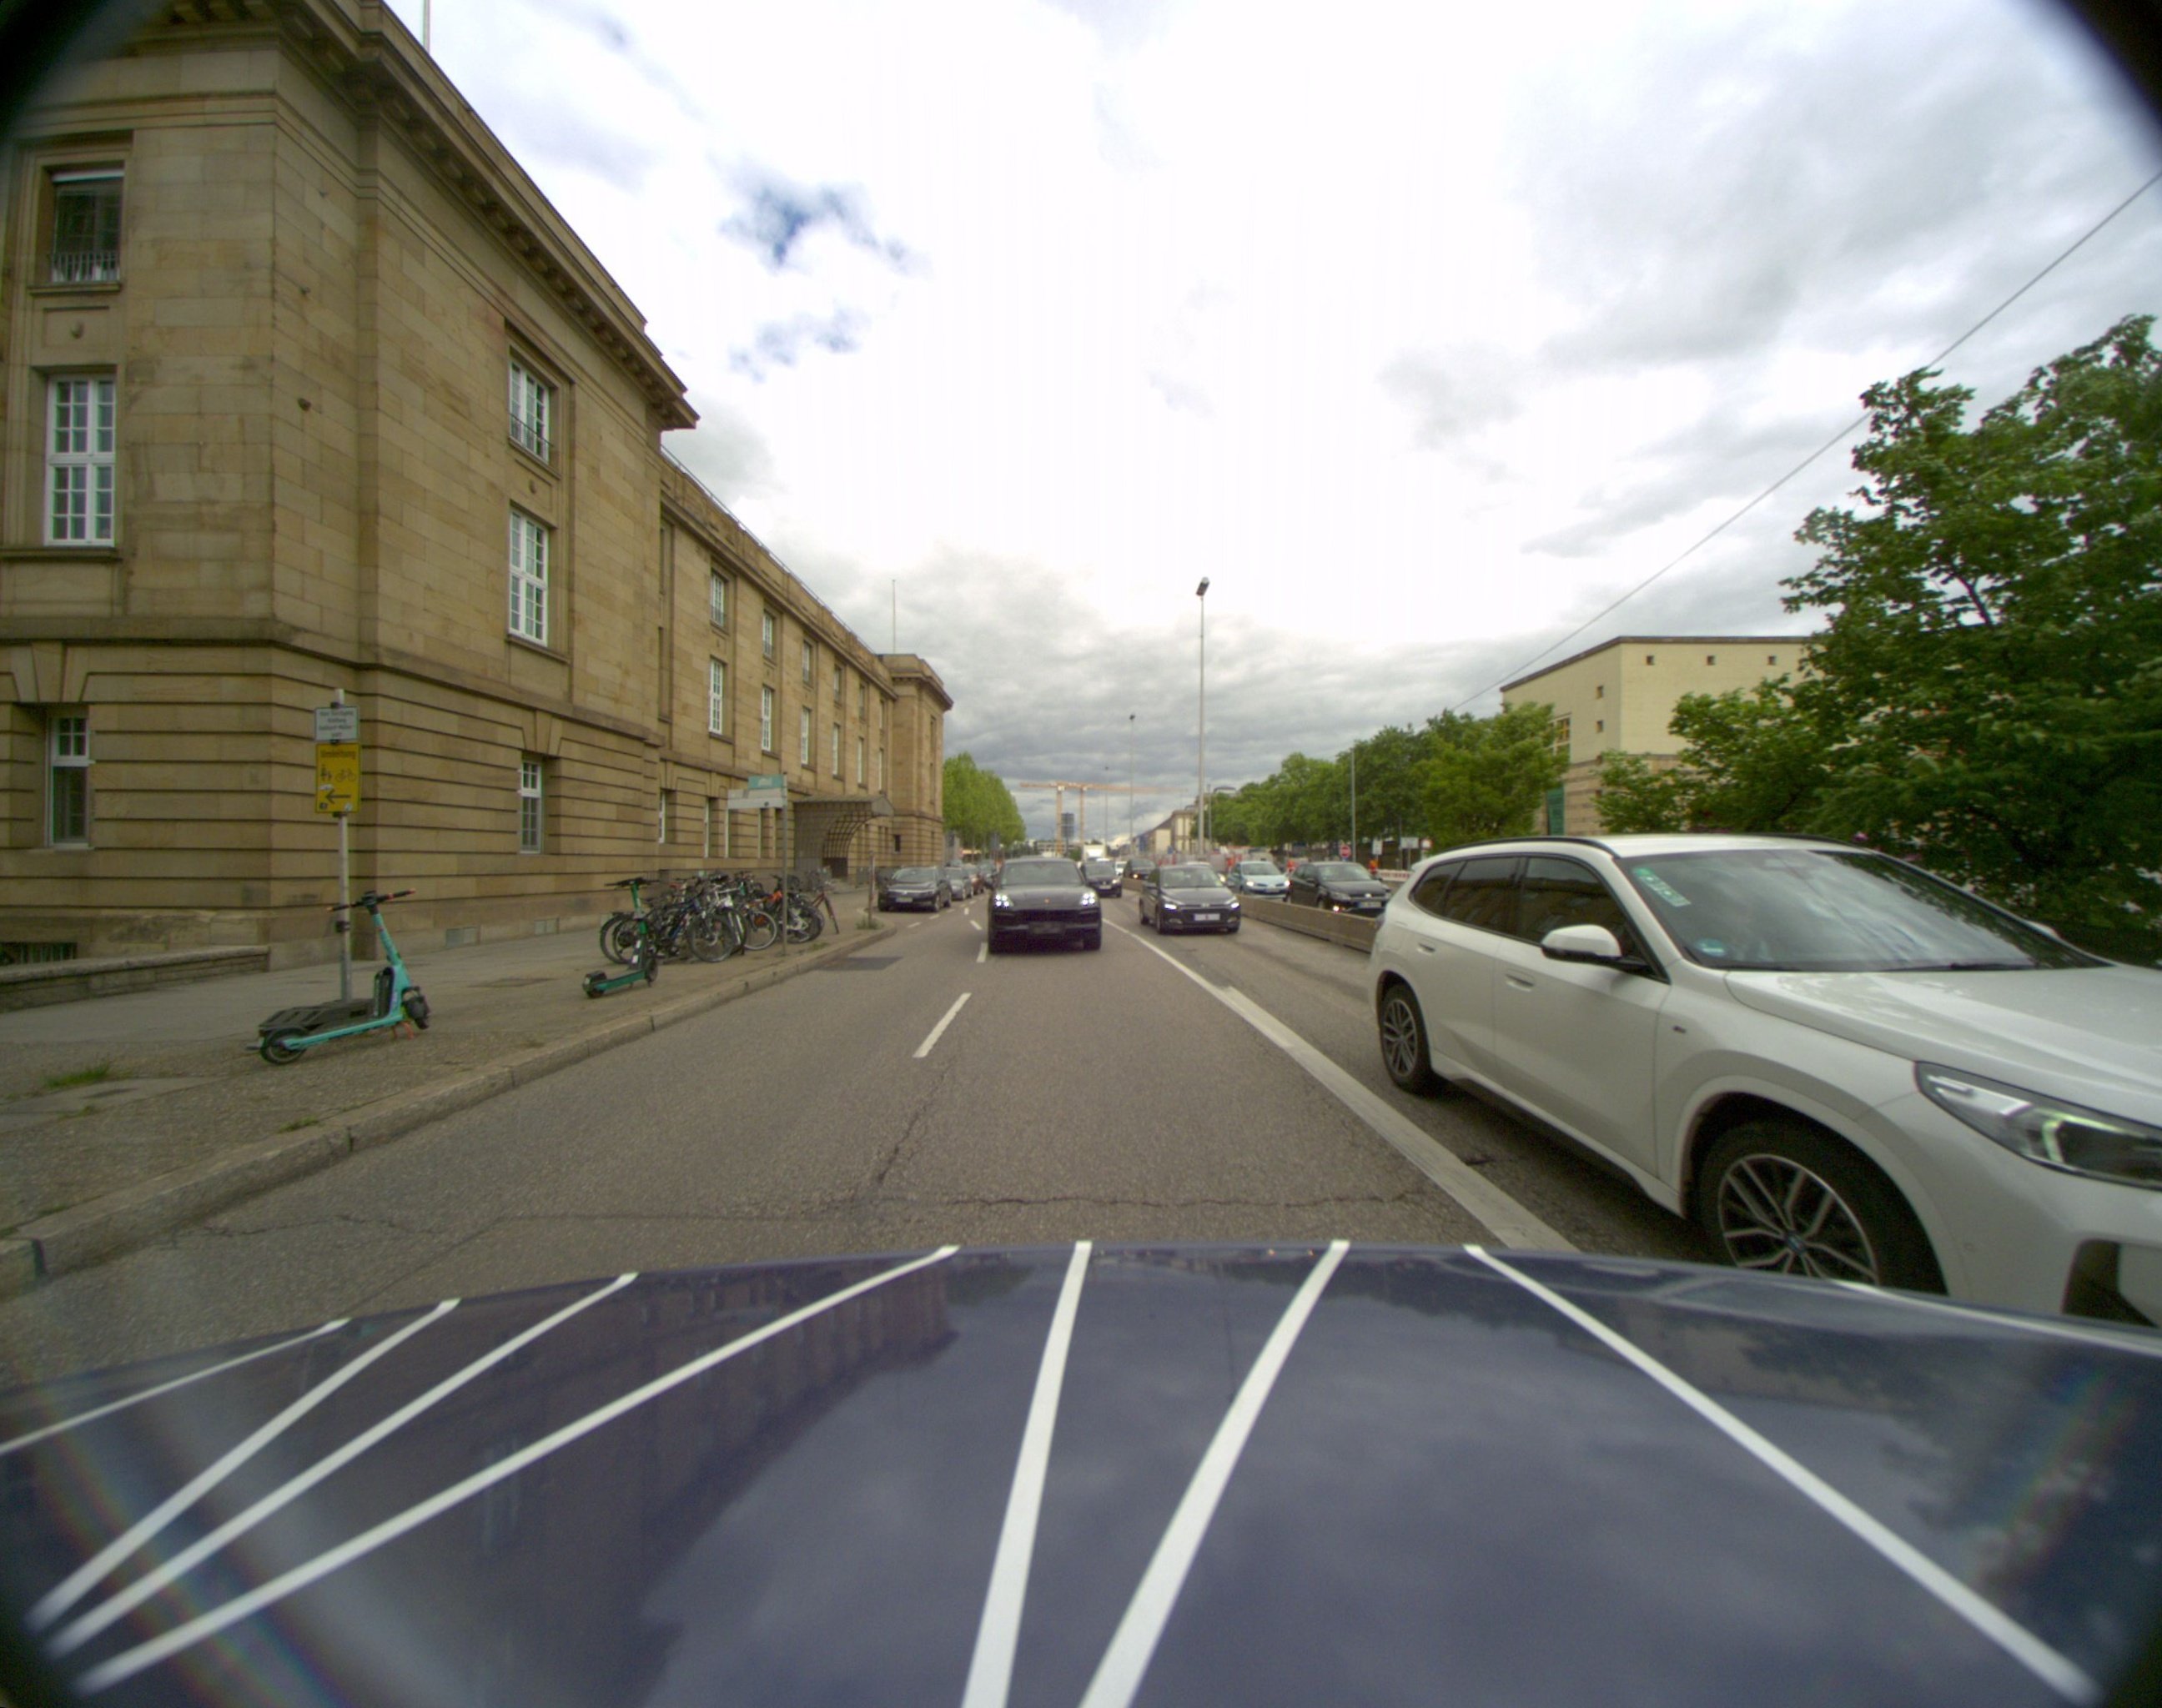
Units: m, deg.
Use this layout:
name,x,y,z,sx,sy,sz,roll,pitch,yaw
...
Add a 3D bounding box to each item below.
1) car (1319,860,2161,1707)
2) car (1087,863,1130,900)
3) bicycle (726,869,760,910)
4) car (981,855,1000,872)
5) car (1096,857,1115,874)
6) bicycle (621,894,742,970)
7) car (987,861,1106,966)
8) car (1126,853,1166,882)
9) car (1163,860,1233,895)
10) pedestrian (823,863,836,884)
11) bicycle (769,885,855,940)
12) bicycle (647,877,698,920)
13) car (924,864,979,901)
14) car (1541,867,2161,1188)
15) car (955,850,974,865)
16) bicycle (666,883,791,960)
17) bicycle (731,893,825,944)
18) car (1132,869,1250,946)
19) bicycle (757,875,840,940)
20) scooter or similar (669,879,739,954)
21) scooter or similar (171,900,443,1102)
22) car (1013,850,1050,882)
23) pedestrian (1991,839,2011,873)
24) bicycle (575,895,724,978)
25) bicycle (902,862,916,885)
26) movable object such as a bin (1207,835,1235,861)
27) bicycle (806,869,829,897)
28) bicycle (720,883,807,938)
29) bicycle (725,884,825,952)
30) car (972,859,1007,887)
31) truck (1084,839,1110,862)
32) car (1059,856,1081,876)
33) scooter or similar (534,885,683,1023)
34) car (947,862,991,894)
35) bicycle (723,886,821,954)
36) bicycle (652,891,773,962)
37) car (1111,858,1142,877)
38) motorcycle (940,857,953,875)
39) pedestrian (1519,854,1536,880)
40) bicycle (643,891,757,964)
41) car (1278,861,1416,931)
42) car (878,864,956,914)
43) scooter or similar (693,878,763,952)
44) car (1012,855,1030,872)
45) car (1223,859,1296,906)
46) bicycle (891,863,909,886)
name,x,y,z,sx,sy,sz,roll,pitch,yaw
car,2.904,0.888,3.647,1.856,1.618,4.905,-1,0,-1
car,1.151,1.154,33.137,1.612,1.464,3.621,0,0,-2
bicycle,-10.348,1.058,23.297,0.276,1.176,1.538,-1,0,3
car,-9.539,0.995,80.405,1.810,1.728,4.484,-1,-1,-5
car,2.662,1.236,84.232,1.843,1.751,4.479,0,0,-2
bicycle,-6.042,1.165,11.484,1.731,1.085,0.426,-1,0,13
car,-0.683,0.966,14.302,1.908,1.648,4.199,0,0,-4
car,3.915,0.799,46.134,1.781,1.611,4.044,-1,0,-4
car,5.402,1.045,35.766,1.884,1.472,4.700,-1,0,-9
pedestrian,-10.926,0.833,32.997,0.430,0.868,0.373,-2,1,1
bicycle,-5.554,1.188,15.695,1.664,1.068,0.586,-1,0,20
bicycle,-10.377,1.105,19.350,0.241,0.992,1.962,0,0,0
car,-5.462,1.174,32.434,1.713,1.417,3.996,1,0,-1
car,6.386,0.987,6.574,1.928,1.626,4.937,-1,0,2
car,-12.385,0.346,80.887,1.584,1.521,3.503,-1,0,-2
bicycle,-5.898,1.114,12.771,1.762,1.202,0.604,-1,0,-3
bicycle,-5.971,1.258,14.959,1.730,0.912,0.614,0,1,19
car,2.348,1.103,17.276,1.803,1.429,4.018,-1,0,-4
bicycle,-5.685,1.065,15.296,1.544,1.249,0.544,-1,0,19
scooter or similar,-6.848,1.118,13.853,0.563,1.271,1.149,-1,0,6
scooter or similar,-5.873,1.042,5.886,0.432,1.273,1.435,-1,1,12
car,-3.015,0.729,47.185,1.952,1.914,4.399,0,0,0
pedestrian,45.847,0.079,37.875,0.342,1.685,0.526,-1,1,0
bicycle,-6.161,1.163,10.871,1.860,1.085,0.666,-1,0,13
bicycle,-10.027,1.114,44.414,0.413,1.280,1.790,0,0,0
movable object such as a bin,11.800,-0.463,64.062,1.526,2.172,3.291,0,0,-4
bicycle,-10.372,1.128,29.982,0.222,1.023,1.859,-1,0,0
bicycle,-6.151,1.096,14.726,1.565,1.022,0.436,-1,0,12
bicycle,-5.486,1.127,13.666,1.616,1.123,0.407,-1,0,-25
car,-5.421,1.094,45.330,1.549,1.543,3.709,1,0,2
truck,1.900,-0.414,92.736,2.978,2.757,7.254,0,0,0
car,-0.976,1.106,70.660,1.999,1.849,4.000,0,0,0
scooter or similar,-5.152,1.043,8.398,0.727,1.323,1.413,-1,1,0
car,-5.551,1.157,37.939,1.620,1.446,3.858,1,0,0
bicycle,-5.632,1.186,13.872,1.616,1.123,0.469,-1,0,-25
bicycle,-5.961,1.172,12.315,1.731,1.085,0.575,-1,0,9
car,3.283,0.966,55.571,1.731,1.288,3.933,-1,0,-4
motorcycle,-9.640,0.866,54.389,0.456,1.235,1.923,1,0,4
pedestrian,35.616,1.012,60.584,0.847,2.002,0.815,-2,1,1
bicycle,-5.967,1.145,11.903,1.731,1.085,0.381,-1,0,13
car,6.296,0.916,18.507,1.664,1.445,4.196,-1,0,-4
car,-5.360,1.104,25.340,1.793,1.477,4.325,0,0,-2
scooter or similar,-6.398,1.080,13.840,0.426,1.217,1.313,-2,1,11
car,-7.188,1.173,91.175,1.999,2.002,3.999,0,0,-2
car,6.356,0.971,27.422,1.676,1.498,3.854,-1,0,-1
bicycle,-10.136,1.126,42.543,0.557,1.209,1.916,0,0,0
